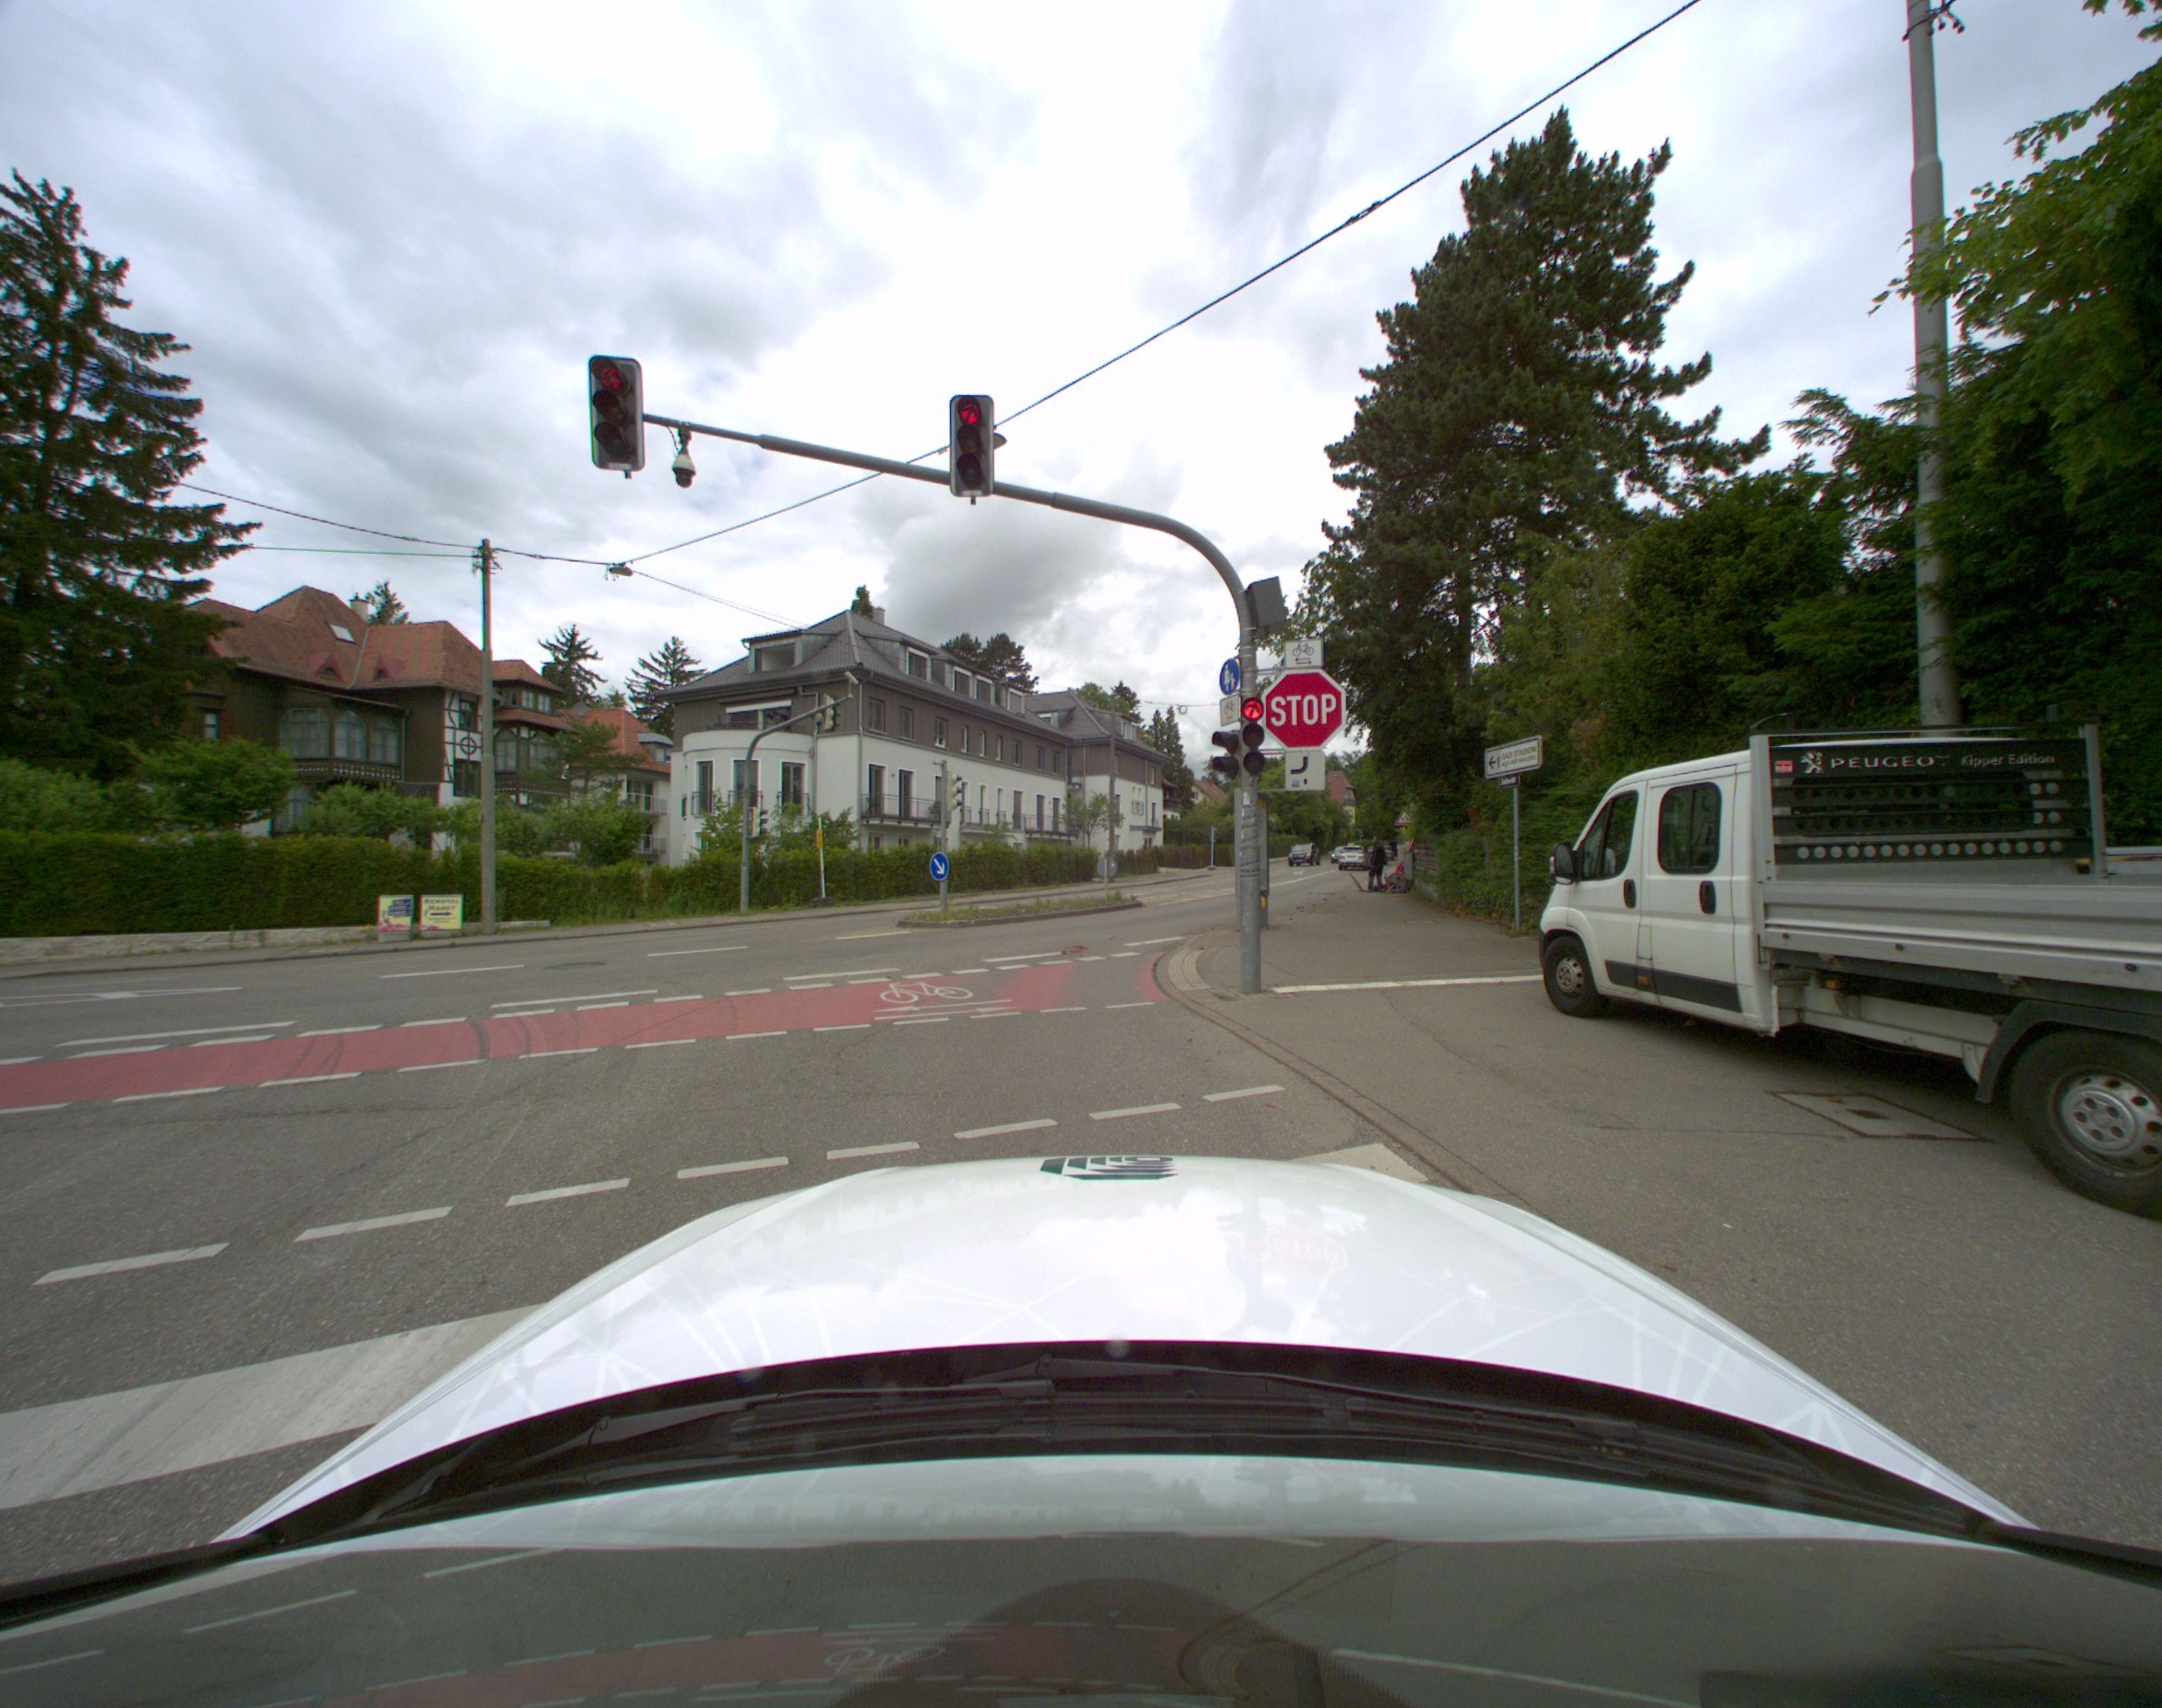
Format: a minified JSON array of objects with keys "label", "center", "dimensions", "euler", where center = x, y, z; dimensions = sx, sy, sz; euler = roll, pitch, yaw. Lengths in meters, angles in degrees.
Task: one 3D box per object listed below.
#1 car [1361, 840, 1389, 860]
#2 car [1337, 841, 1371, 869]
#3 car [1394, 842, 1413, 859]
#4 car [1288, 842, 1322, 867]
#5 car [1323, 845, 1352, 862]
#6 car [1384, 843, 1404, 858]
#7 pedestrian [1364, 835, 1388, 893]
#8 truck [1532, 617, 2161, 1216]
[{"label":"car","center":[24.687,-0.360,68.235],"dimensions":[1.783,1.527,4.770],"euler":[-2,0,24]},{"label":"car","center":[18.355,0.063,54.609],"dimensions":[1.791,1.753,4.511],"euler":[-2,0,22]},{"label":"car","center":[38.171,-0.466,96.378],"dimensions":[1.902,1.894,4.935],"euler":[1,1,23]},{"label":"car","center":[18.215,0.073,66.015],"dimensions":[1.895,1.881,5.170],"euler":[-2,-1,24]},{"label":"car","center":[23.235,-0.061,73.584],"dimensions":[1.921,1.403,4.770],"euler":[-1,0,25]},{"label":"car","center":[31.627,-0.352,82.228],"dimensions":[1.679,1.430,3.769],"euler":[-2,0,23]},{"label":"pedestrian","center":[9.837,0.328,27.188],"dimensions":[0.594,1.907,0.559],"euler":[0,-1,2]},{"label":"truck","center":[5.275,0.235,4.953],"dimensions":[2.198,2.243,5.729],"euler":[0,0,4]}]
